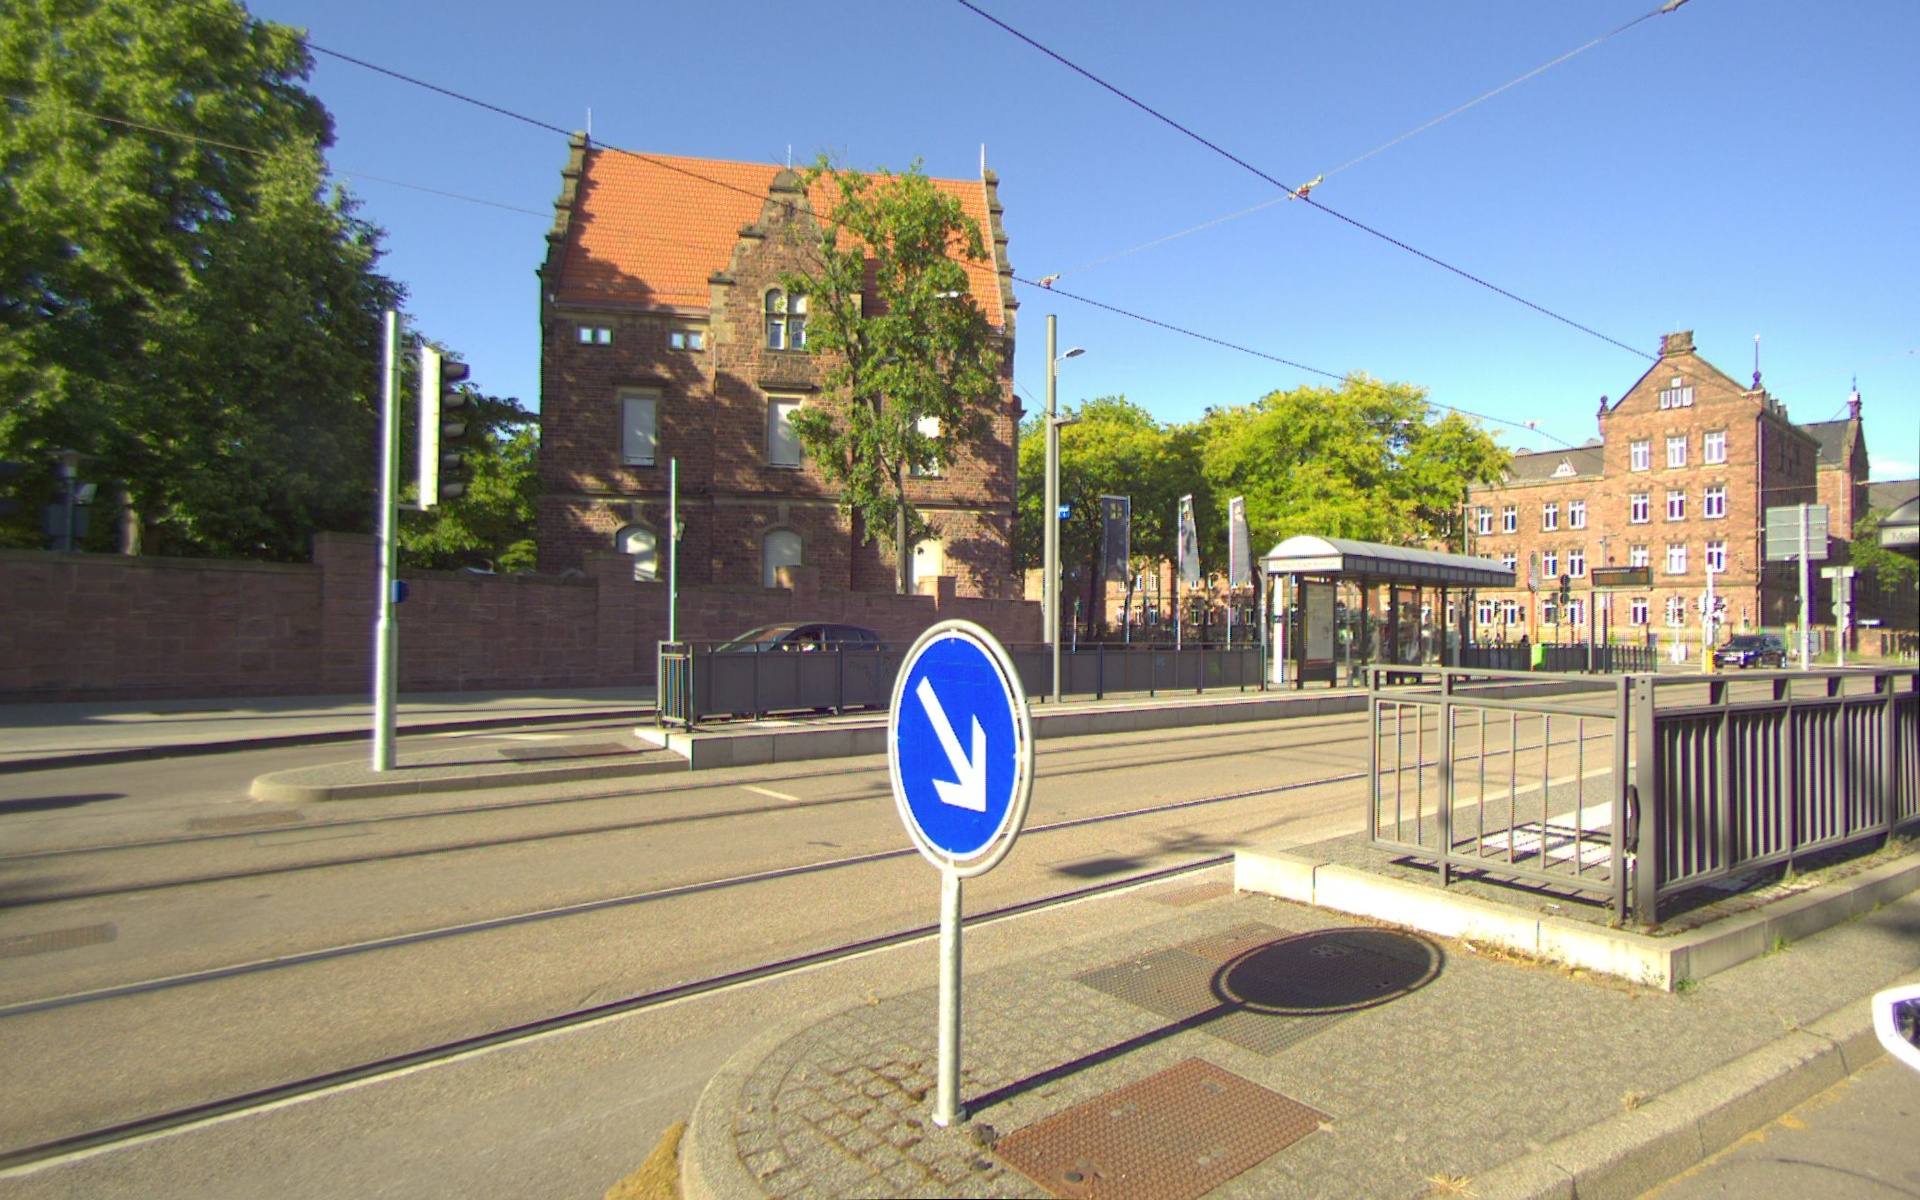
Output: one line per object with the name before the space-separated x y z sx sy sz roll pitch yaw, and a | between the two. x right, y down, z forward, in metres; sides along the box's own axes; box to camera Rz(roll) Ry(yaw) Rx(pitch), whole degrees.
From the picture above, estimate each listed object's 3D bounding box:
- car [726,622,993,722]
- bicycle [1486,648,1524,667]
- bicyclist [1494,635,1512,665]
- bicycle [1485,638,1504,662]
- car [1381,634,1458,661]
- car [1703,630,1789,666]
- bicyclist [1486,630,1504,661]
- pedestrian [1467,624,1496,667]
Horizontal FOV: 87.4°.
car | -1.580 1.110 16.314 3.945 1.421 1.843 1 -3 -36
bicycle | 30.788 3.245 56.742 0.794 1.027 1.721 2 -2 -39
bicyclist | 30.715 2.813 56.850 0.795 1.657 0.629 2 -1 -39
bicycle | 24.924 2.321 46.838 0.680 1.063 1.668 1 -1 25
car | 28.762 2.952 62.996 1.860 1.542 4.035 2 -2 -37
car | 38.797 2.358 49.565 4.307 1.699 1.897 2 -1 -31
bicyclist | 24.915 2.115 46.810 0.678 1.402 0.534 1 -1 25
pedestrian | 23.065 2.010 44.433 1.086 1.885 0.721 2 -1 -37
